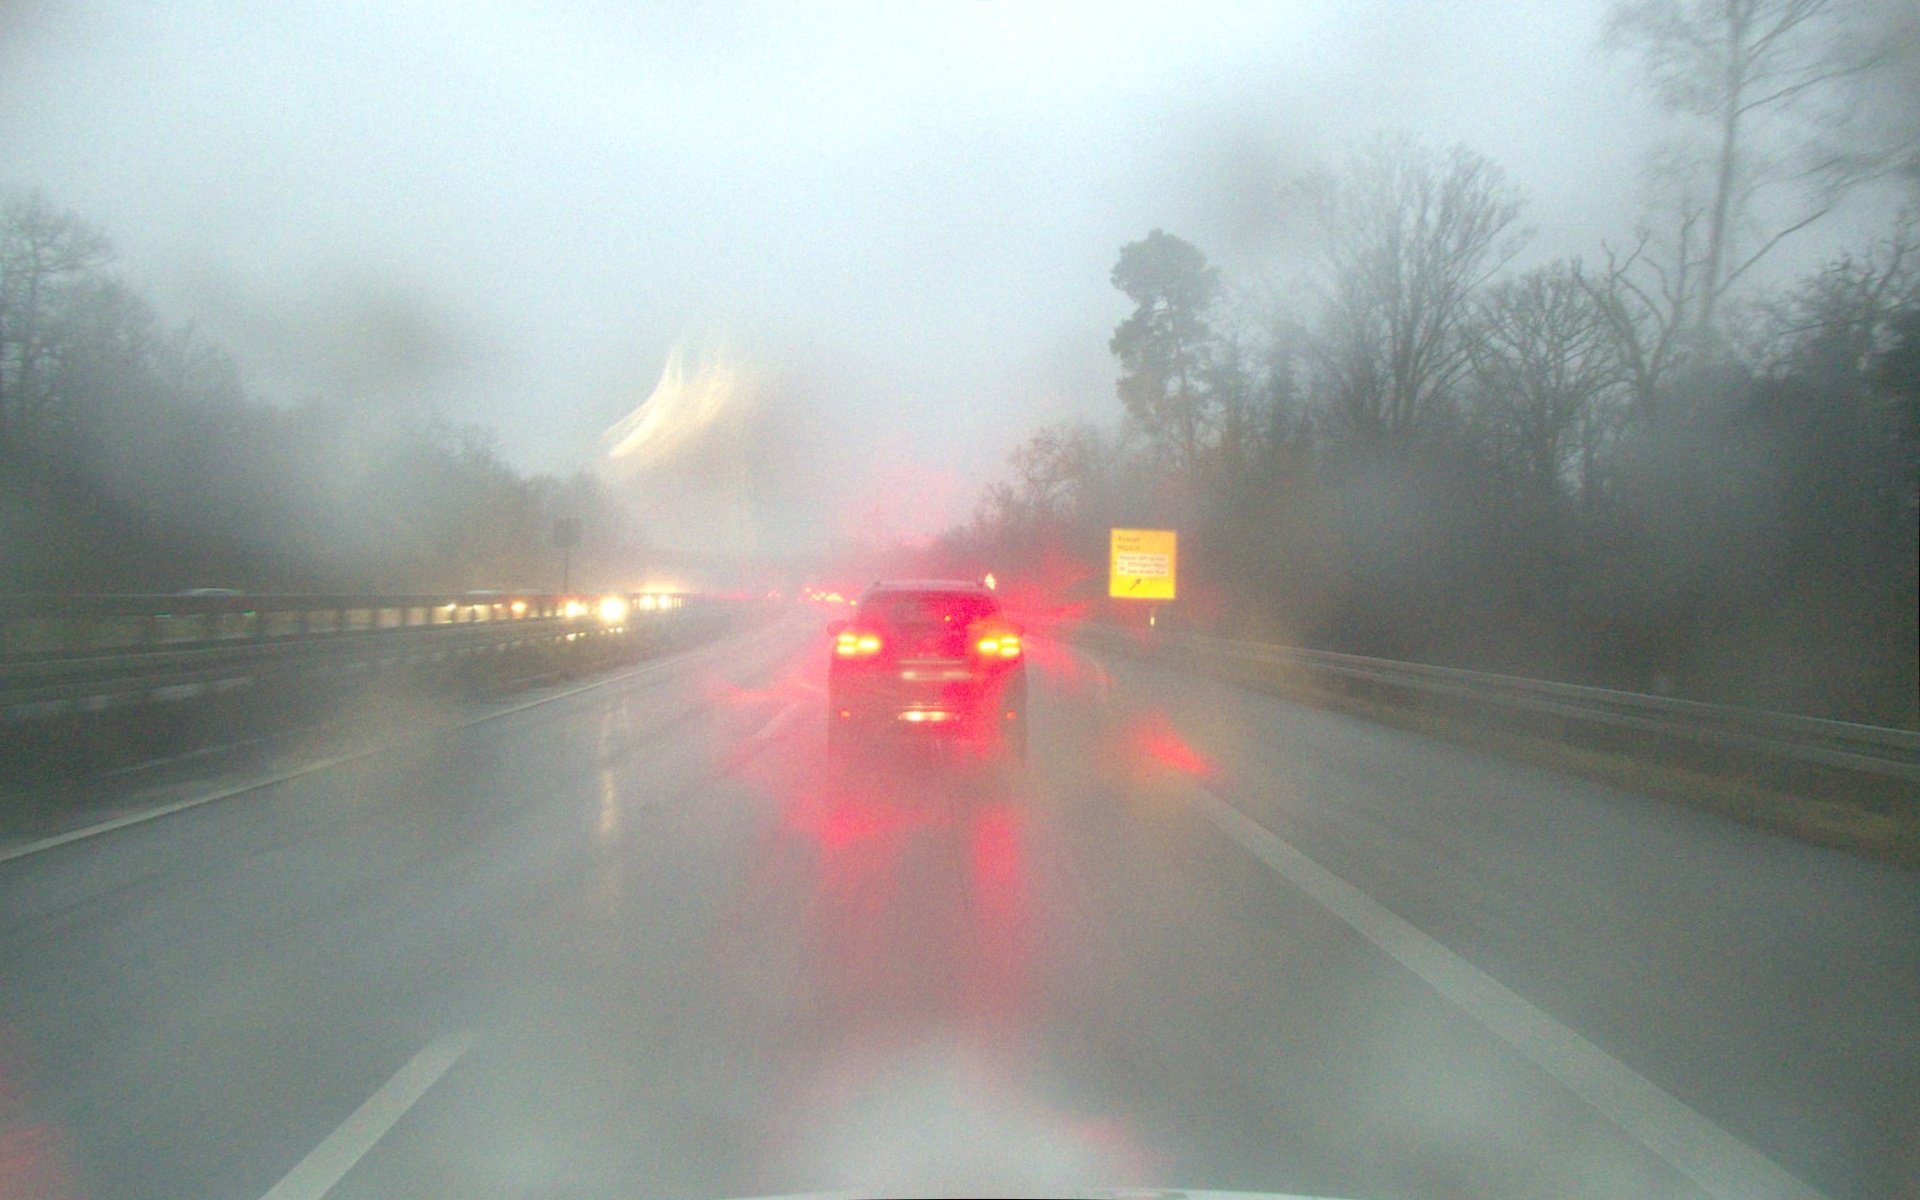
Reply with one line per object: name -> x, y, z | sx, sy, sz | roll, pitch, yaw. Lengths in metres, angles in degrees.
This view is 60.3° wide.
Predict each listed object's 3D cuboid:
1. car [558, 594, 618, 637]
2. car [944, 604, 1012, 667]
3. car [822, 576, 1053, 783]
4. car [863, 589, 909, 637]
car -> -13.729, 0.547, 61.168 | 1.527, 1.525, 3.429 | 1, 0, -2
car -> 0.403, 0.826, 39.844 | 1.537, 1.433, 3.646 | 1, 0, 0
car -> -0.271, 0.679, 16.029 | 1.952, 1.745, 3.828 | 1, 0, -3
car -> -3.254, 0.552, 72.989 | 1.953, 2.049, 3.998 | 1, 0, -2
